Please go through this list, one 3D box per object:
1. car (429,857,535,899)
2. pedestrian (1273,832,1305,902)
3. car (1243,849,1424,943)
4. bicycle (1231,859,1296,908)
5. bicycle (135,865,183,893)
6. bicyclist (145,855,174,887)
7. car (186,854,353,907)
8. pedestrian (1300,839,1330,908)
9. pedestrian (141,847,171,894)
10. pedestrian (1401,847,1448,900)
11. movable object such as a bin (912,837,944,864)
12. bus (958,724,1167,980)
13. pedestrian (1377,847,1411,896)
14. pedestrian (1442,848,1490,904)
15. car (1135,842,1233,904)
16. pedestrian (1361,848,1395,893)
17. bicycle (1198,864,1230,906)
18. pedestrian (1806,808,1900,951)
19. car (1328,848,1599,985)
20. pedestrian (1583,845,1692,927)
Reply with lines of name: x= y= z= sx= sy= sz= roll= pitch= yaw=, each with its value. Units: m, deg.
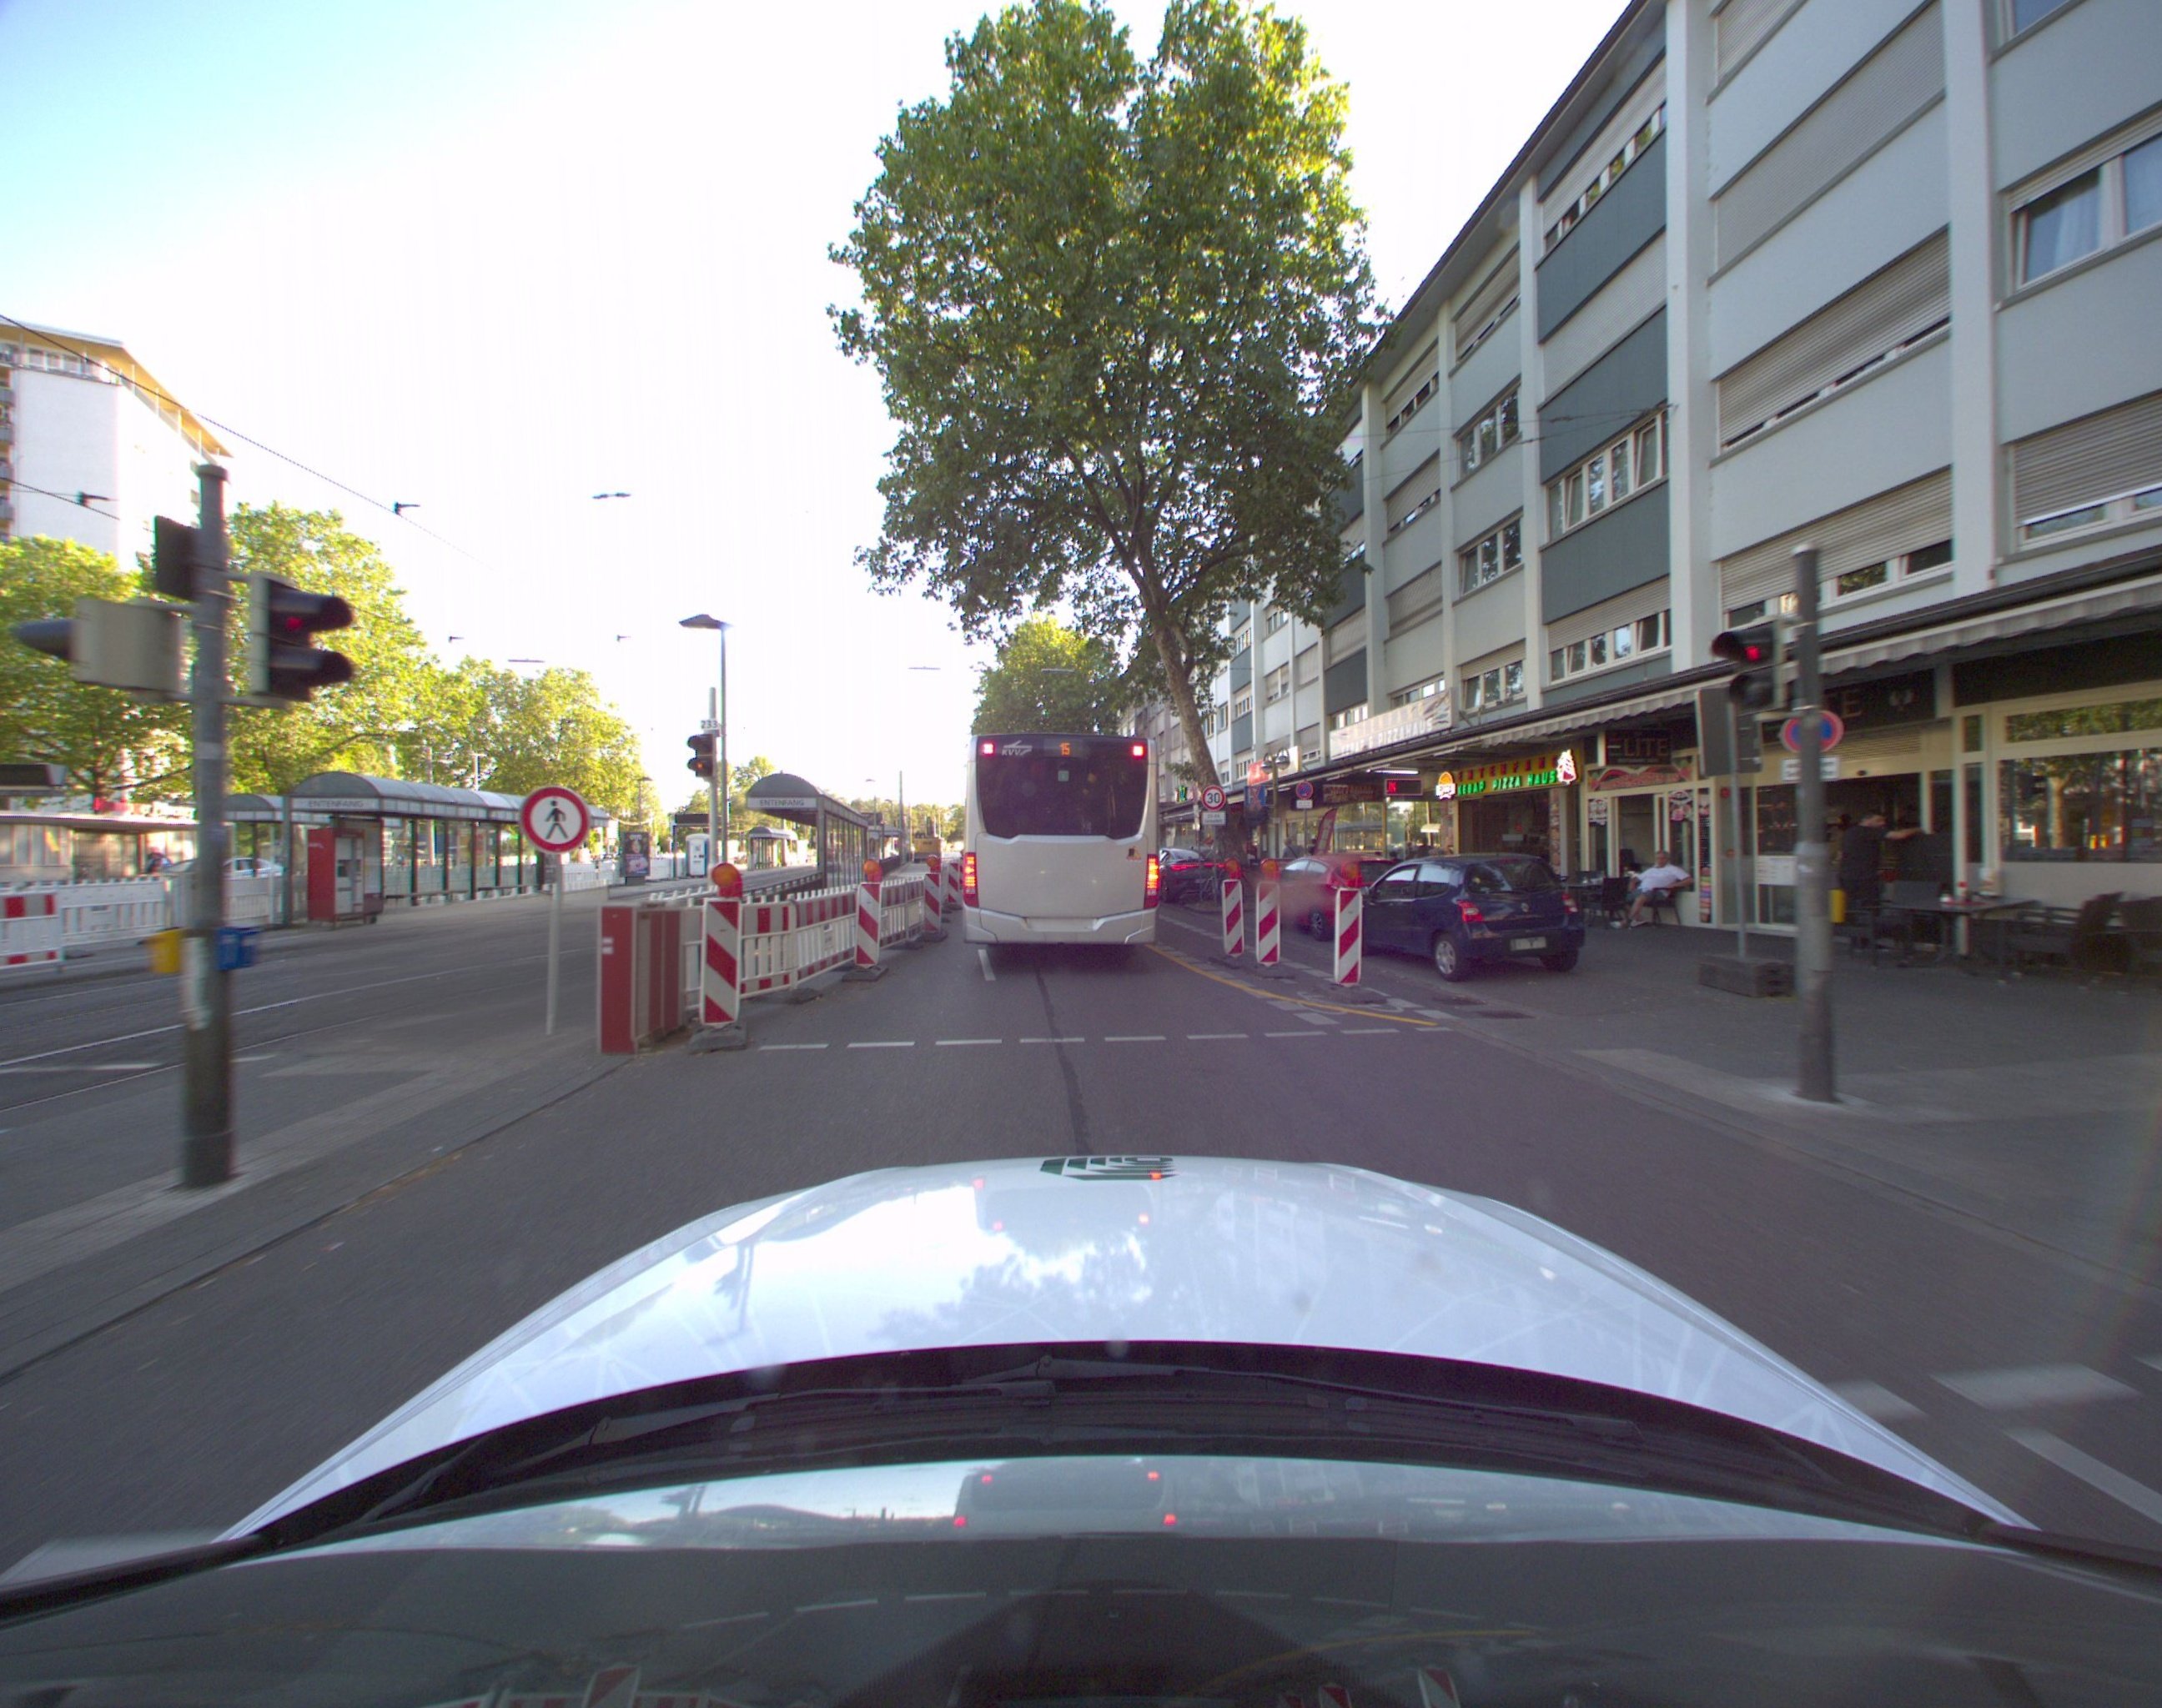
car: x=-27.723 y=1.051 z=37.913 sx=1.947 sy=1.654 sz=4.676 roll=-1 pitch=1 yaw=-9
pedestrian: x=6.112 y=0.365 z=23.945 sx=0.690 sy=2.013 sz=0.694 roll=-1 pitch=0 yaw=-9
car: x=4.548 y=0.671 z=15.284 sx=1.666 sy=1.429 sz=3.836 roll=-3 pitch=1 yaw=-9
bicycle: x=4.445 y=0.708 z=19.864 sx=1.452 sy=1.066 sz=0.296 roll=-4 pitch=3 yaw=6
bicycle: x=-34.529 y=0.926 z=30.519 sx=0.411 sy=0.967 sz=1.455 roll=-1 pitch=0 yaw=-13
bicyclist: x=-34.532 y=0.618 z=30.525 sx=0.411 sy=1.173 sz=0.660 roll=-1 pitch=0 yaw=-13
car: x=-29.593 y=0.894 z=29.957 sx=1.947 sy=1.654 sz=4.675 roll=-1 pitch=1 yaw=-9
pedestrian: x=6.941 y=0.571 z=24.182 sx=0.612 sy=2.013 sz=0.694 roll=-1 pitch=0 yaw=-7
pedestrian: x=-36.032 y=0.633 z=31.719 sx=0.570 sy=1.809 sz=0.606 roll=-1 pitch=0 yaw=-27
pedestrian: x=8.431 y=0.469 z=20.013 sx=0.859 sy=1.220 sz=0.699 roll=-4 pitch=0 yaw=9
movable object such as a bin: x=-14.387 y=-0.347 z=76.658 sx=2.806 sy=2.461 sz=3.987 roll=-1 pitch=0 yaw=-10
bus: x=-0.441 y=-0.053 z=15.274 sx=2.602 sy=3.169 sz=10.281 roll=0 pitch=0 yaw=-3
pedestrian: x=8.343 y=0.461 z=21.735 sx=0.613 sy=1.243 sz=0.712 roll=-4 pitch=0 yaw=4
pedestrian: x=8.336 y=0.468 z=17.649 sx=0.592 sy=1.156 sz=0.752 roll=-4 pitch=0 yaw=-4
car: x=3.000 y=0.509 z=24.629 sx=1.739 sy=1.597 sz=4.285 roll=-3 pitch=1 yaw=-9
pedestrian: x=8.293 y=0.446 z=22.770 sx=0.674 sy=1.203 sz=0.705 roll=-4 pitch=0 yaw=5
bicycle: x=3.343 y=0.768 z=20.564 sx=0.295 sy=0.927 sz=1.125 roll=-6 pitch=4 yaw=-15
pedestrian: x=9.824 y=0.307 z=10.380 sx=0.595 sy=1.735 sz=0.588 roll=-3 pitch=1 yaw=-7
car: x=4.932 y=0.694 z=11.096 sx=1.618 sy=1.466 sz=3.596 roll=-3 pitch=1 yaw=-7
pedestrian: x=9.158 y=0.513 z=13.439 sx=1.200 sy=1.232 sz=0.778 roll=-4 pitch=0 yaw=-3
